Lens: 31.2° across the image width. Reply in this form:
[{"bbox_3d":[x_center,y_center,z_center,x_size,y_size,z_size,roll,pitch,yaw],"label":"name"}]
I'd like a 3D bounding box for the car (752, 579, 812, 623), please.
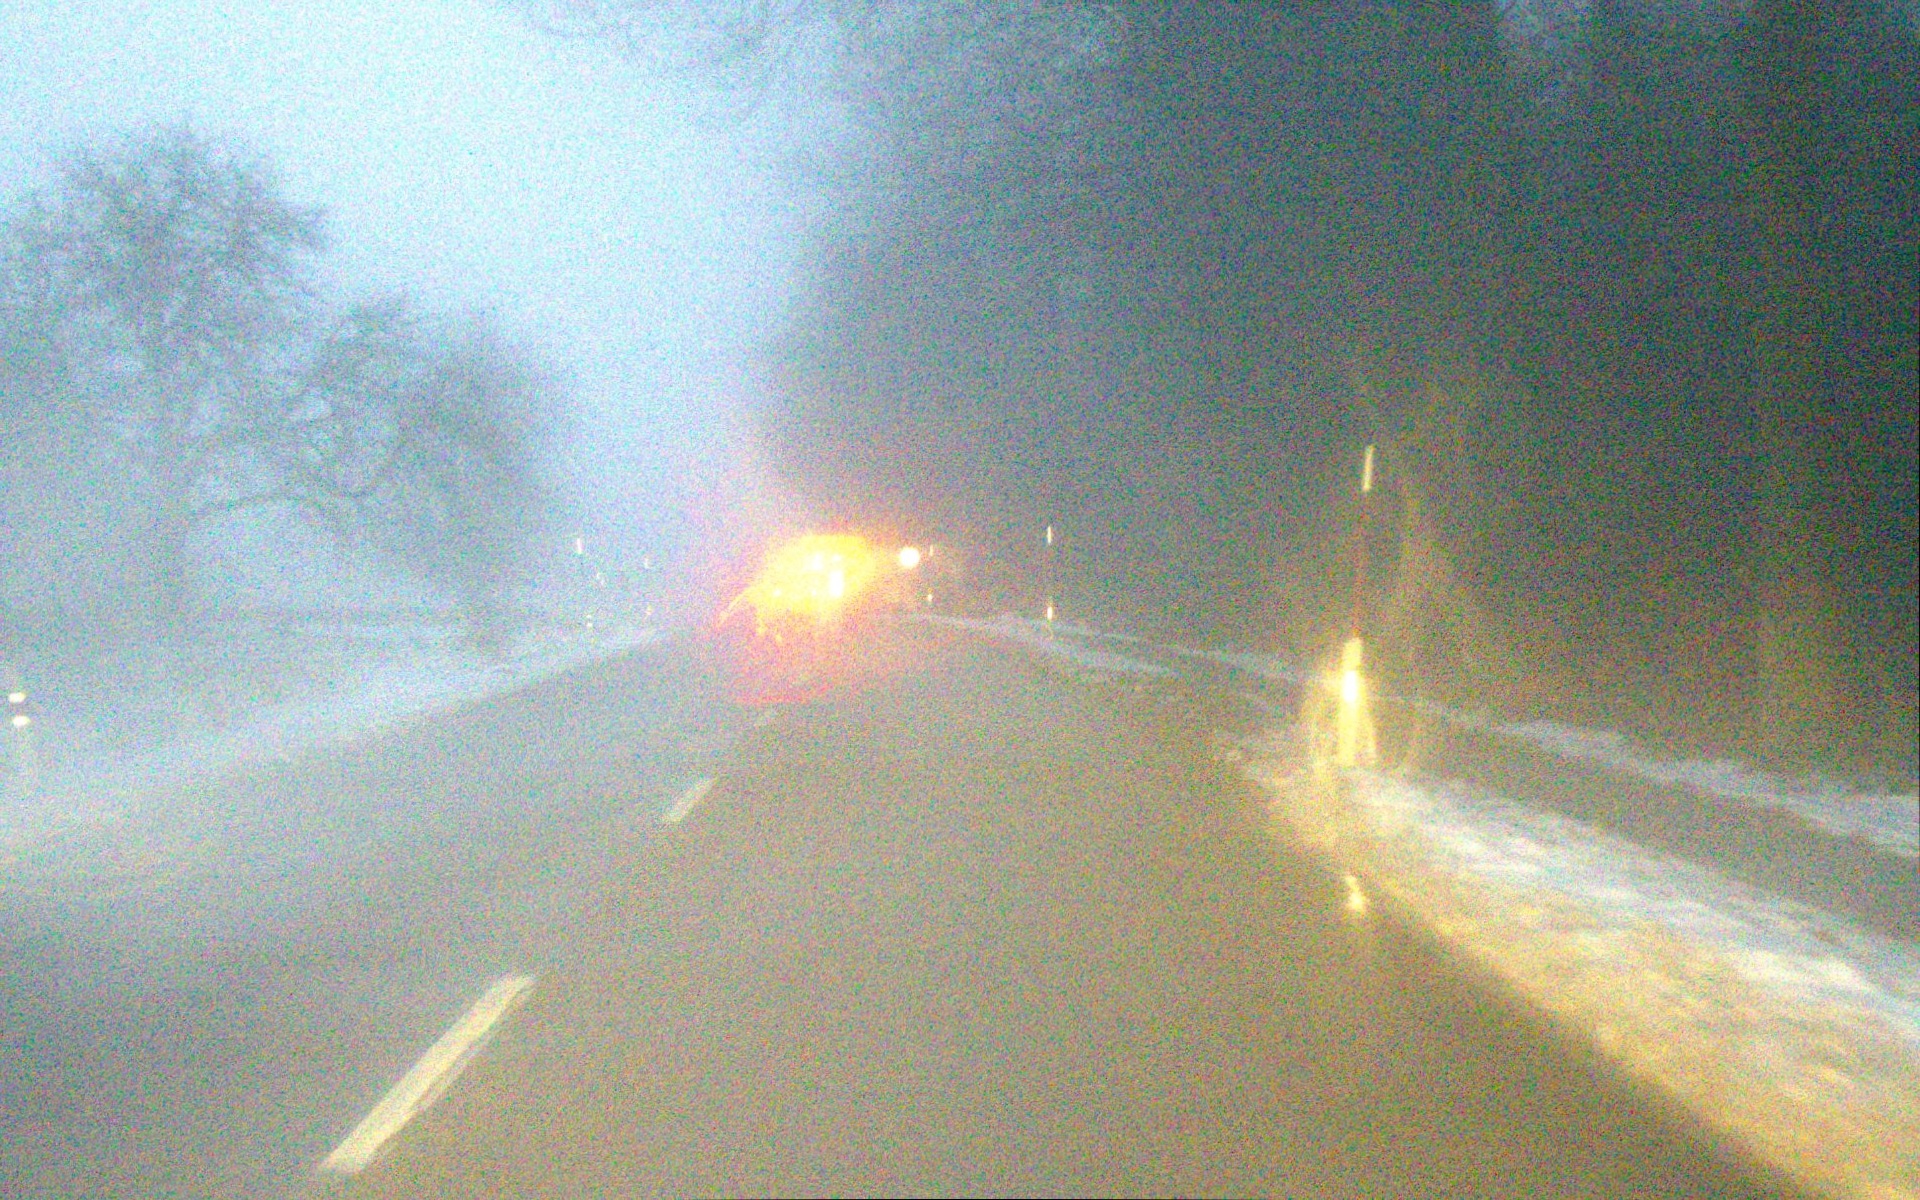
[{"bbox_3d":[-6.249,0.028,120.906,1.993,1.415,4.000,-2,1,-2],"label":"car"}]
